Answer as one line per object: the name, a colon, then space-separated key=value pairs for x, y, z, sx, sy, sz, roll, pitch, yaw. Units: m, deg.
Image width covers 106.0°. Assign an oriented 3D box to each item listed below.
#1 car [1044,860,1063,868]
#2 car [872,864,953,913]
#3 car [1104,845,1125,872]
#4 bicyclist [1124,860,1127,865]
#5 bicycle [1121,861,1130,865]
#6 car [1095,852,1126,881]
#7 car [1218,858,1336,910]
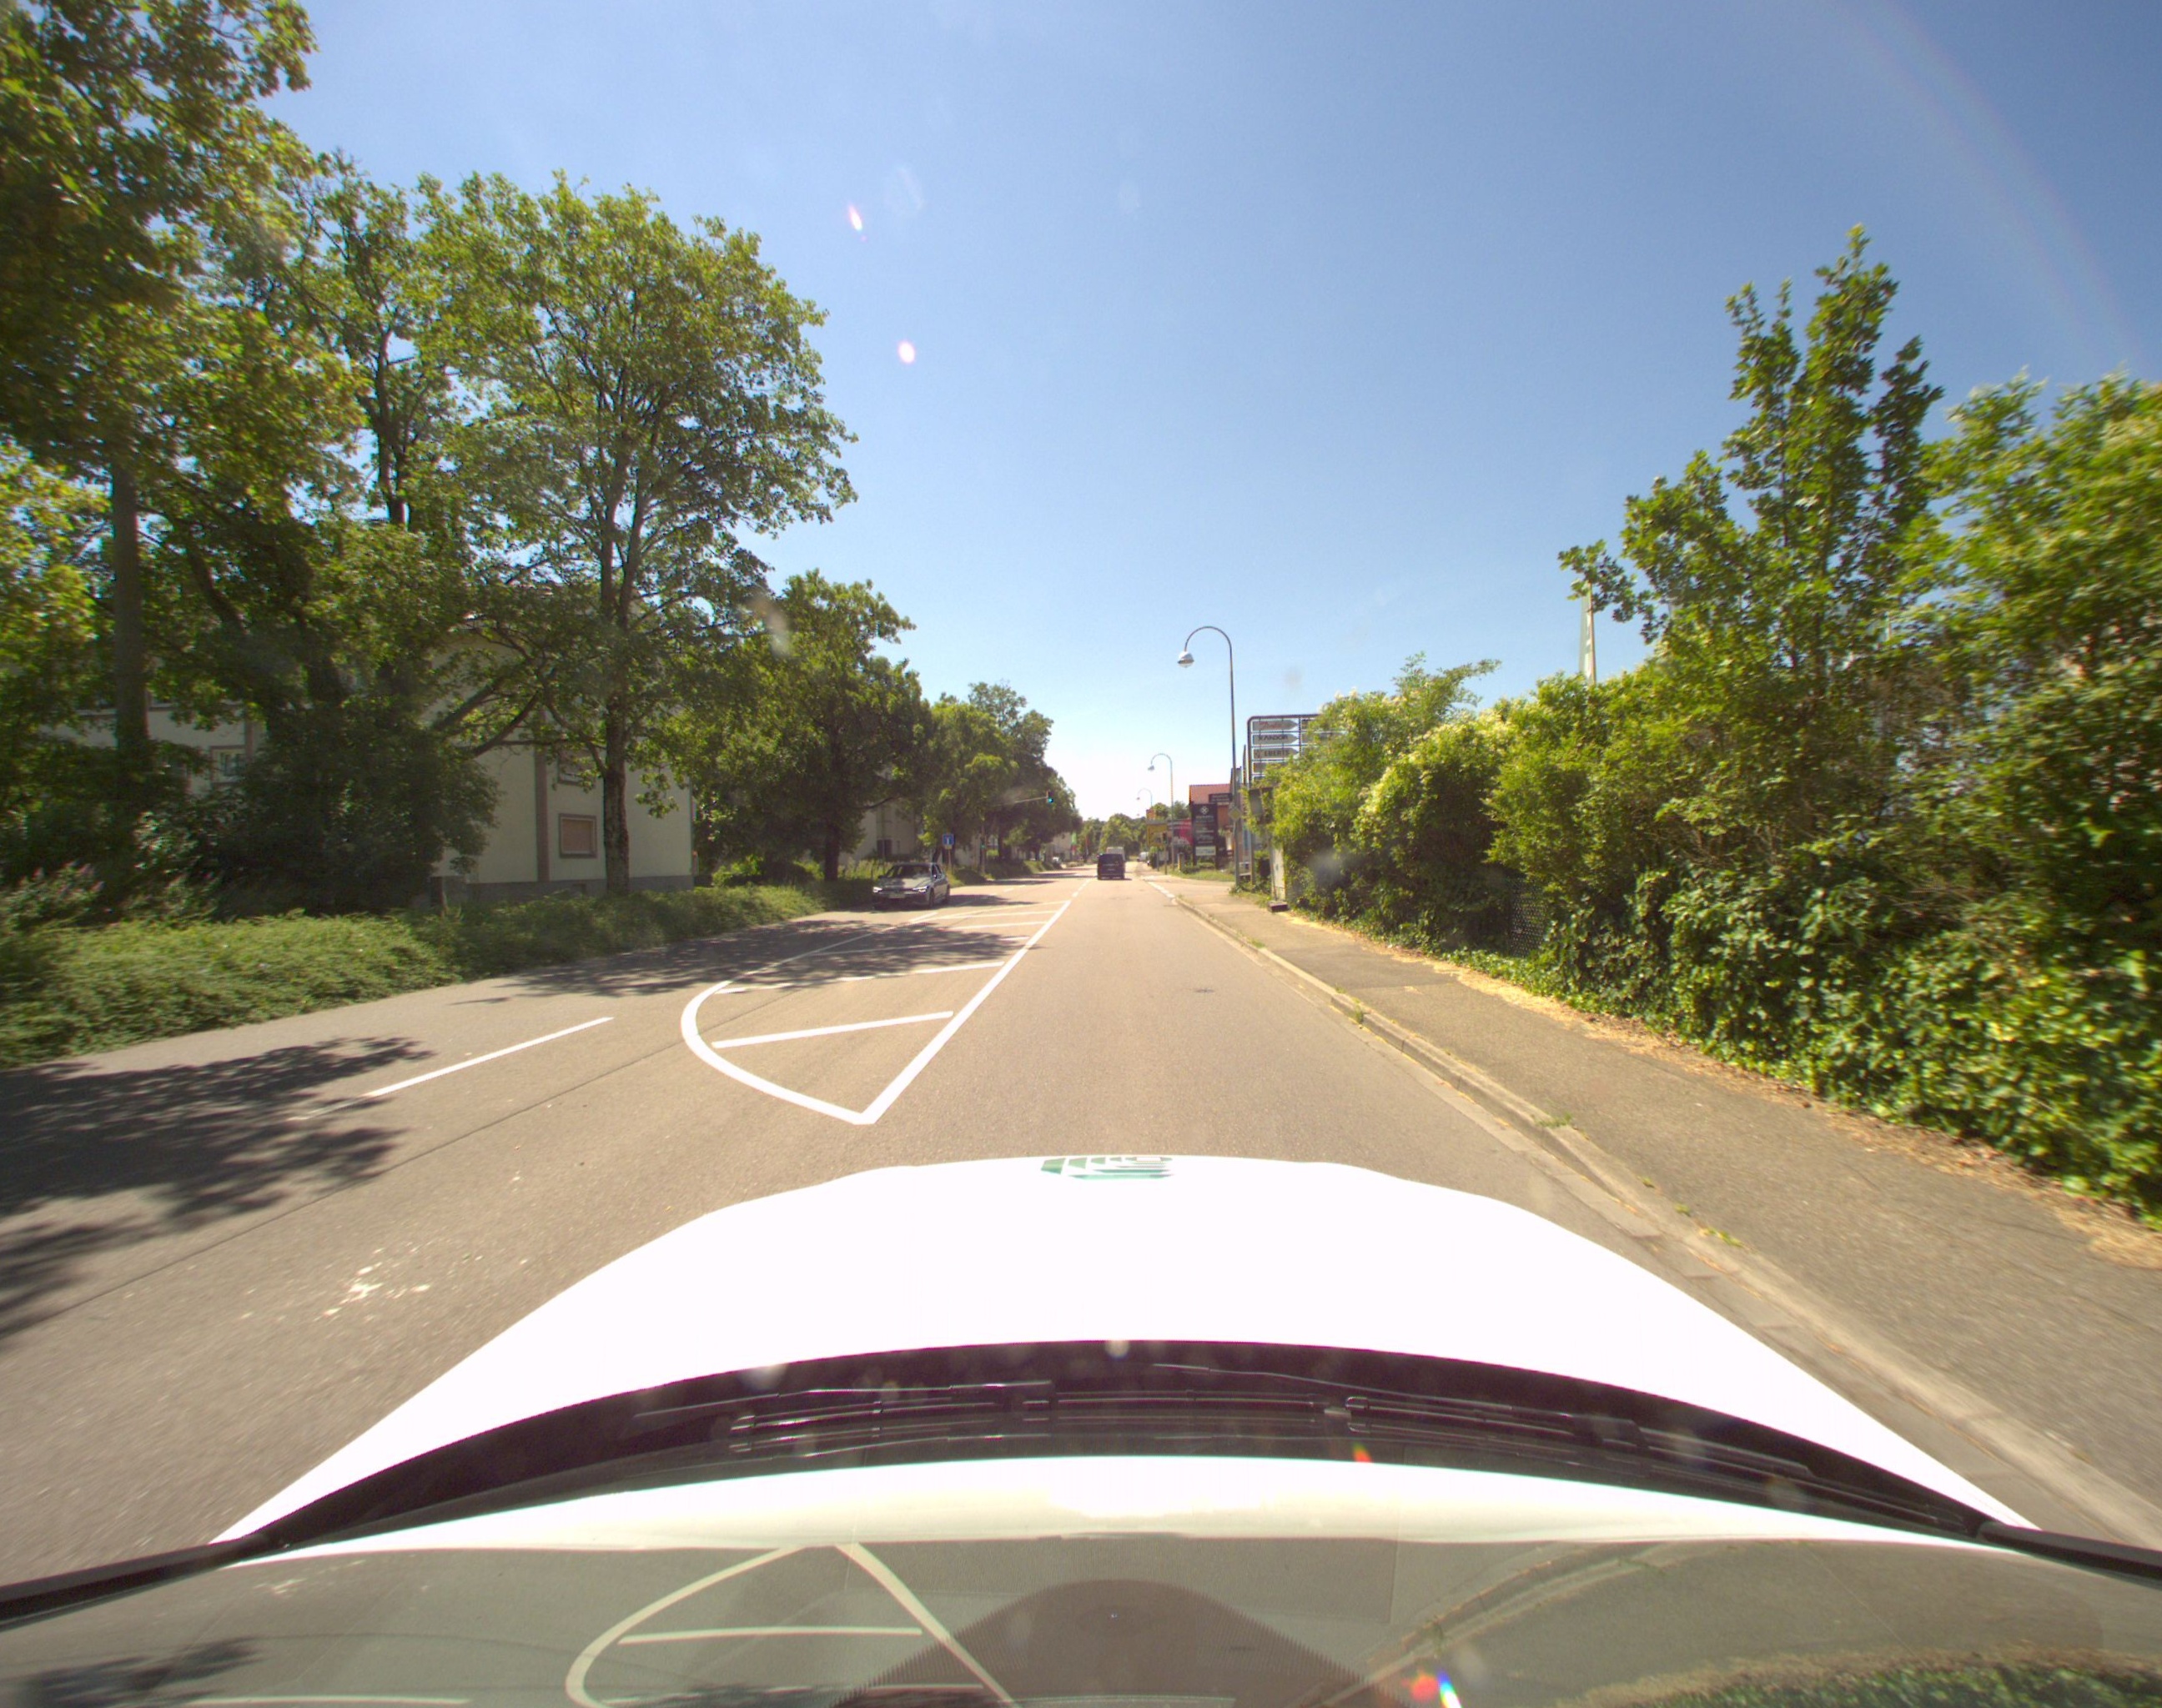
car: x=-6.144 y=2.219 z=181.658 sx=3.960 sy=1.662 sz=2.007 roll=0 pitch=0 yaw=12
car: x=-5.317 y=1.034 z=26.222 sx=1.716 sy=1.427 sz=4.147 roll=-1 pitch=-1 yaw=0
car: x=3.524 y=0.428 z=84.589 sx=2.111 sy=2.678 sz=5.666 roll=-1 pitch=0 yaw=3
bicyclist: x=9.605 y=1.830 z=175.300 sx=0.468 sy=0.853 sz=0.555 roll=-2 pitch=2 yaw=-11
bicycle: x=9.615 y=1.914 z=175.302 sx=1.716 sy=0.887 sz=0.555 roll=-2 pitch=2 yaw=-11
car: x=1.994 y=0.849 z=56.391 sx=1.987 sy=1.893 sz=3.999 roll=-1 pitch=0 yaw=-1
car: x=7.259 y=1.112 z=30.305 sx=4.040 sy=1.514 sz=1.862 roll=5 pitch=-1 yaw=13
